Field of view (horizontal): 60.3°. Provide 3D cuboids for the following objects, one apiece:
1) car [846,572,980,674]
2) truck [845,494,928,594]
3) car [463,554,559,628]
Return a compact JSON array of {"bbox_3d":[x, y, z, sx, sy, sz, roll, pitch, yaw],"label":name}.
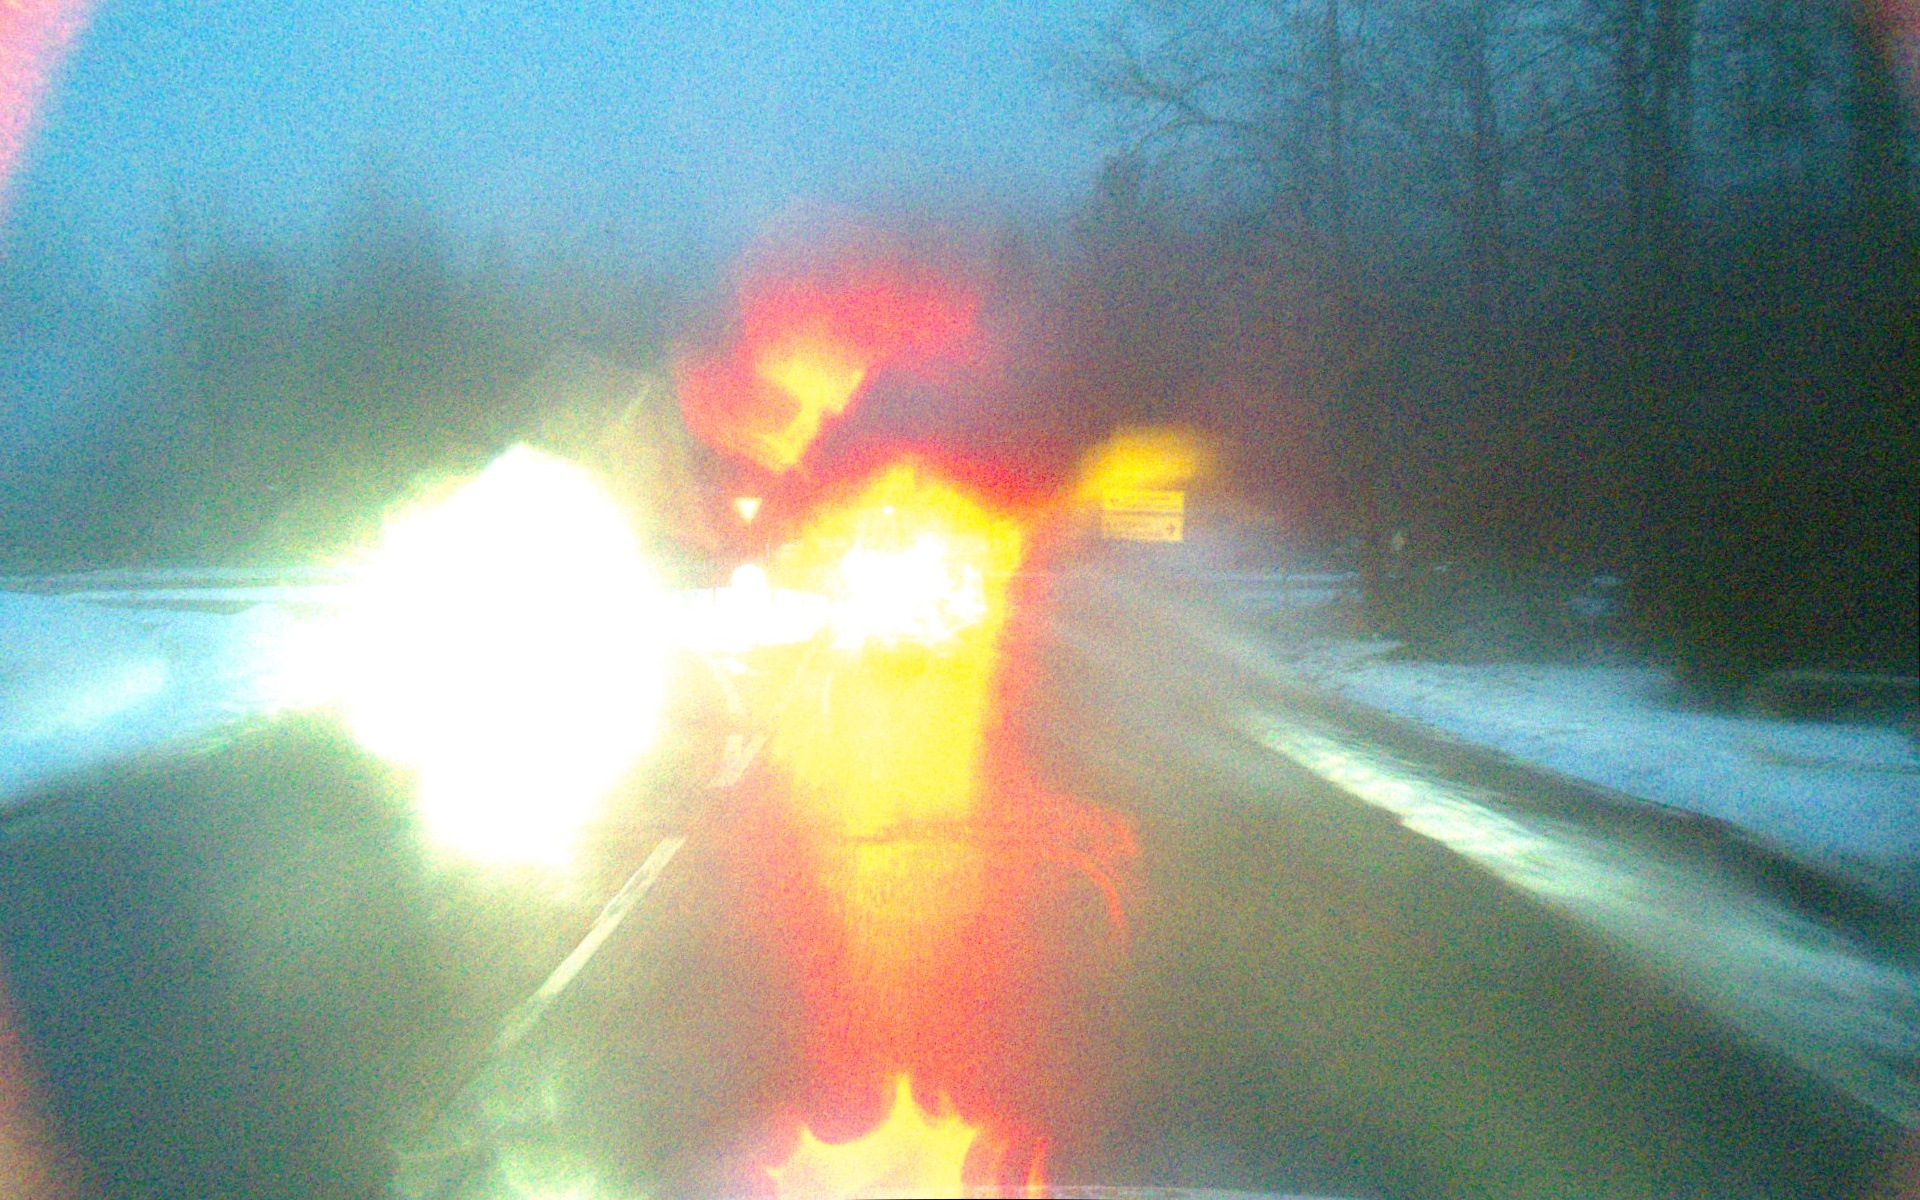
[{"bbox_3d":[-0.785,0.298,25.585,1.884,1.299,3.998,1,2,-4],"label":"car"},{"bbox_3d":[-2.271,-1.652,49.674,2.036,2.793,5.311,1,1,-7],"label":"truck"},{"bbox_3d":[-10.061,-0.247,36.912,1.716,1.512,3.981,-2,2,-20],"label":"car"}]
